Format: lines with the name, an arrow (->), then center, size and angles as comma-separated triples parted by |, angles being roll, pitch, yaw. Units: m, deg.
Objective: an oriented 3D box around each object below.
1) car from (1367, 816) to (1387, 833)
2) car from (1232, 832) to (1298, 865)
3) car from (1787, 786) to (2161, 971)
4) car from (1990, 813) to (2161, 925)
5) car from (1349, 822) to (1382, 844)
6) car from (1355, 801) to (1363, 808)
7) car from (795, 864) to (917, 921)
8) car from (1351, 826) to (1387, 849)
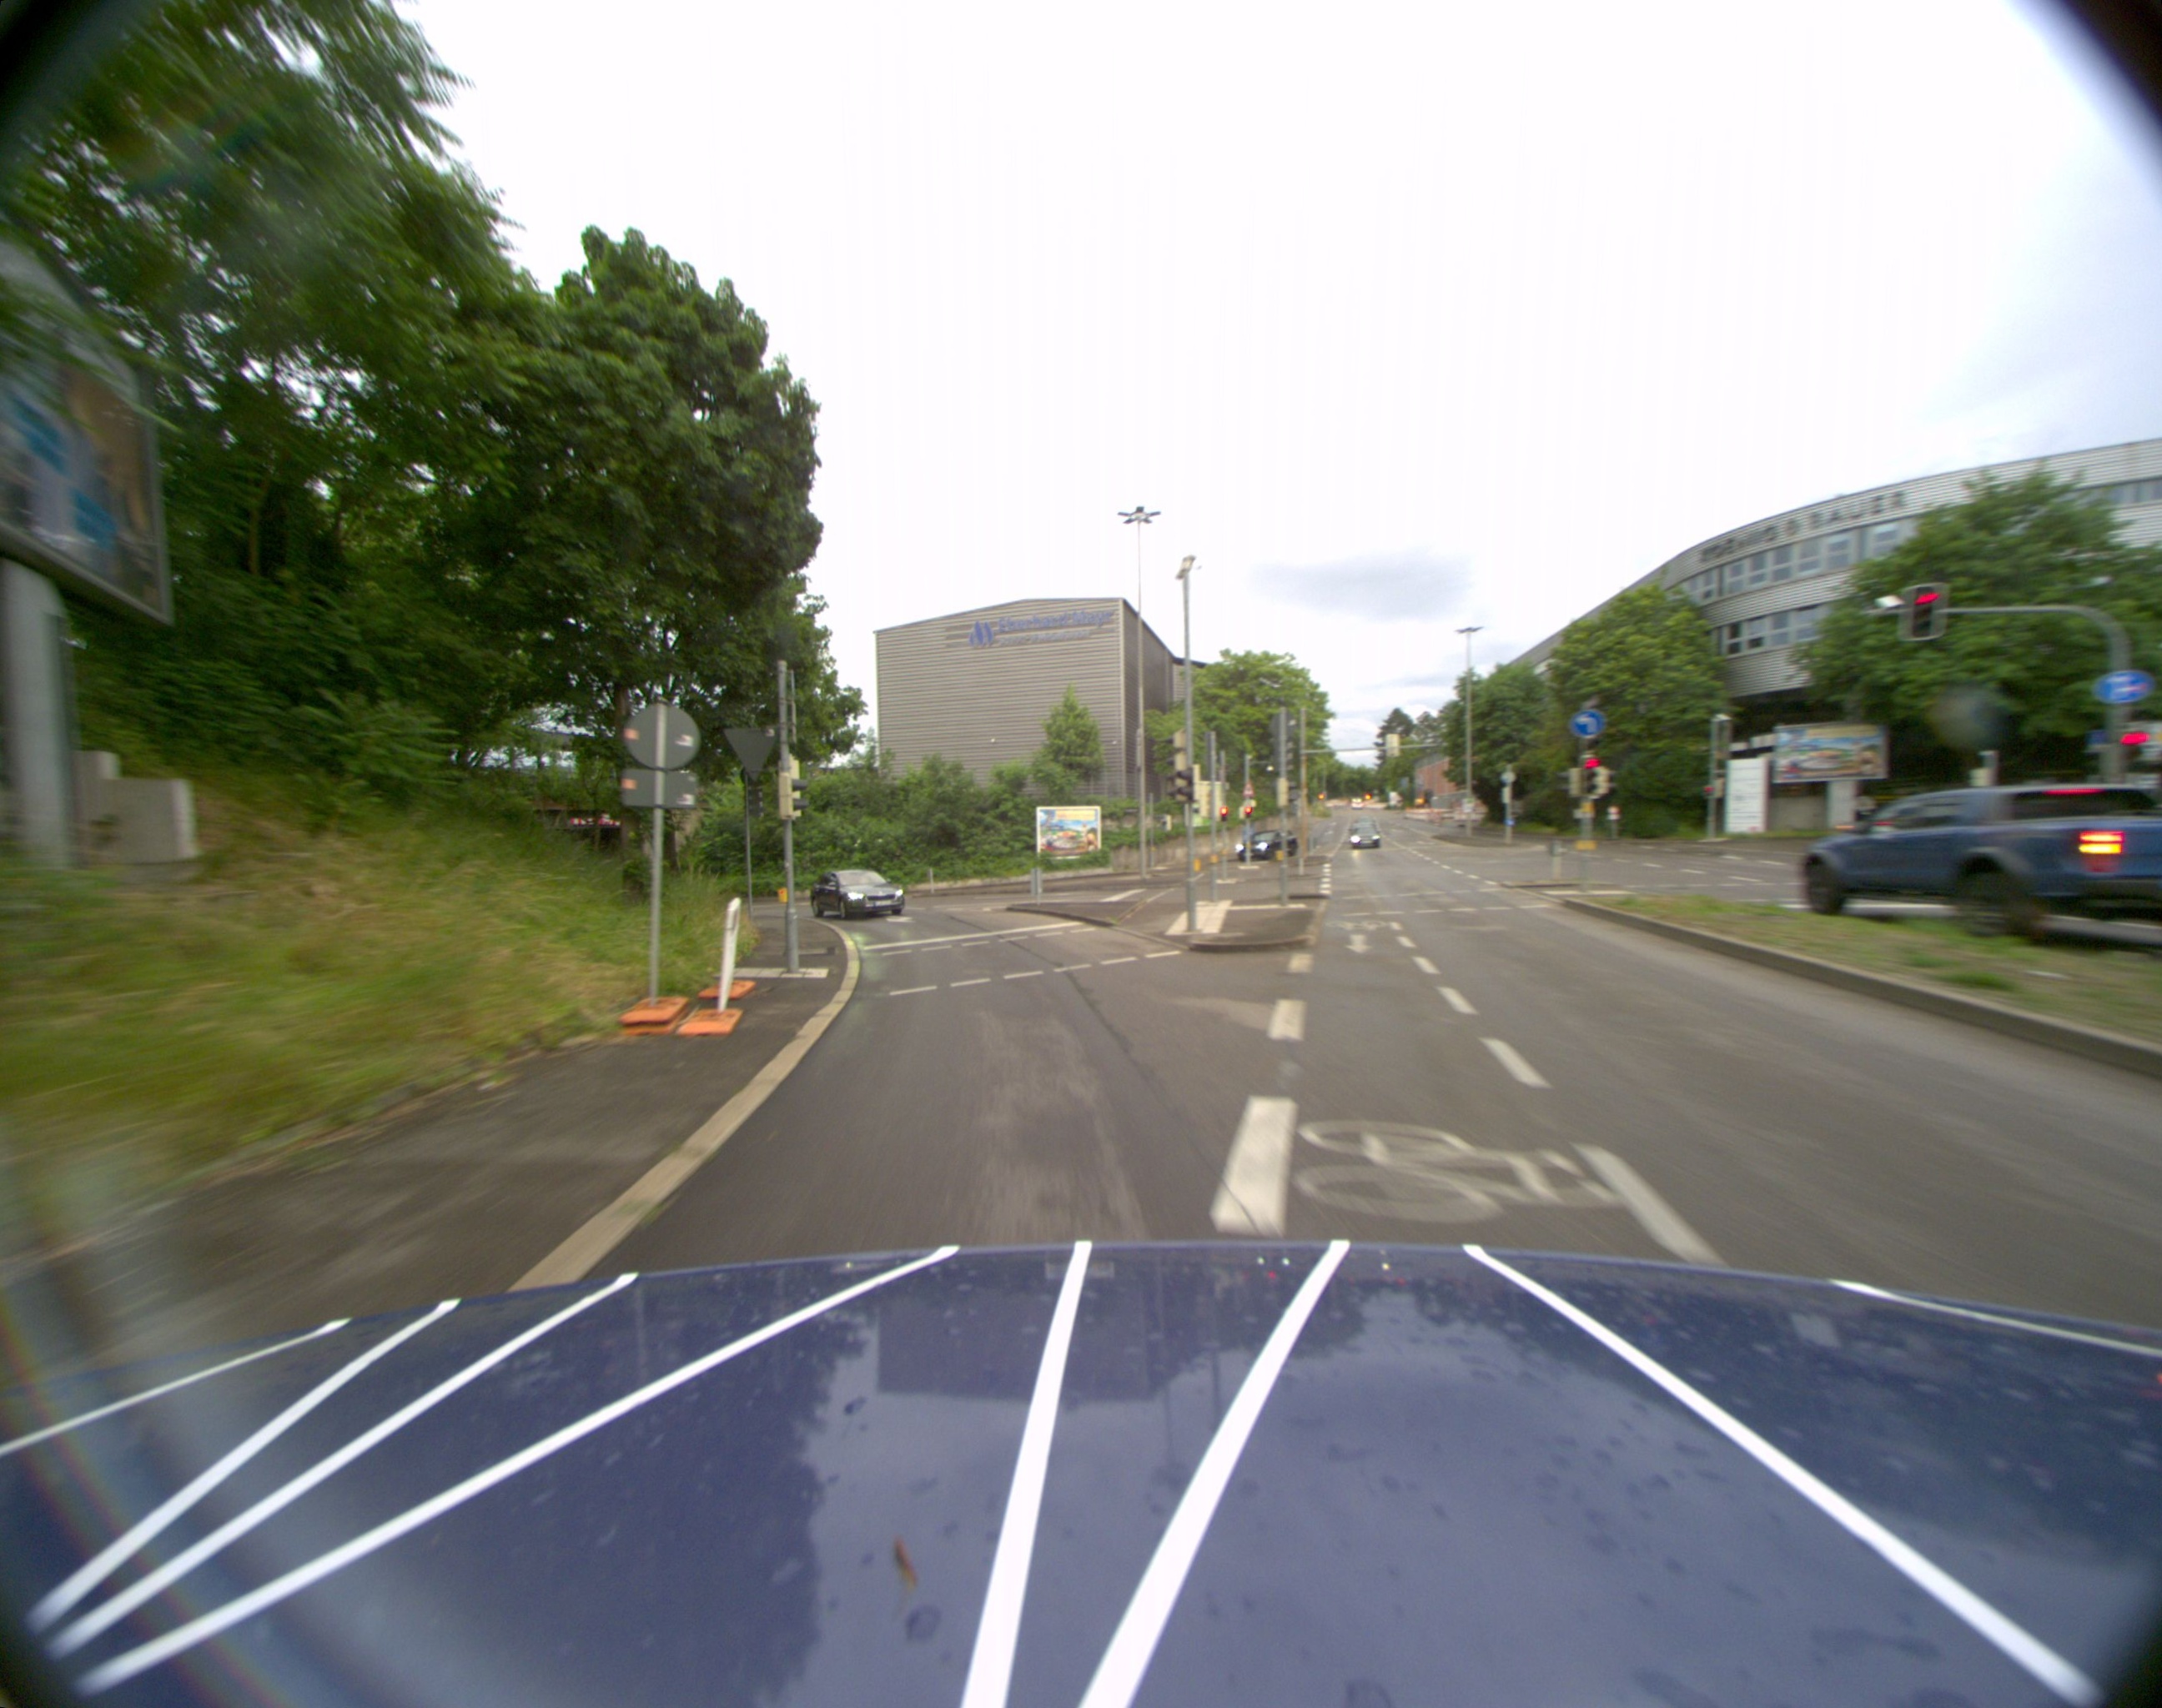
car -> 29.477, -2.980, 75.749 | 1.734, 1.569, 3.713 | -1, 3, 18
car -> 10.876, -0.360, 44.669 | 1.948, 1.535, 4.217 | -3, 3, 41
car -> 11.749, 0.167, 9.737 | 1.936, 1.808, 5.176 | -1, 1, 18
car -> 15.549, 0.183, 10.684 | 1.544, 1.451, 4.073 | -1, 3, 17
car -> 21.557, -1.597, 57.535 | 1.749, 1.362, 3.761 | -4, 2, 29
car -> 56.088, -10.040, 153.106 | 1.531, 1.308, 3.234 | -1, 3, 21
car -> -6.979, 1.199, 23.385 | 1.815, 1.509, 4.042 | -4, 0, -45
car -> 19.025, -1.089, 50.090 | 1.594, 1.253, 3.761 | -4, 2, 29
